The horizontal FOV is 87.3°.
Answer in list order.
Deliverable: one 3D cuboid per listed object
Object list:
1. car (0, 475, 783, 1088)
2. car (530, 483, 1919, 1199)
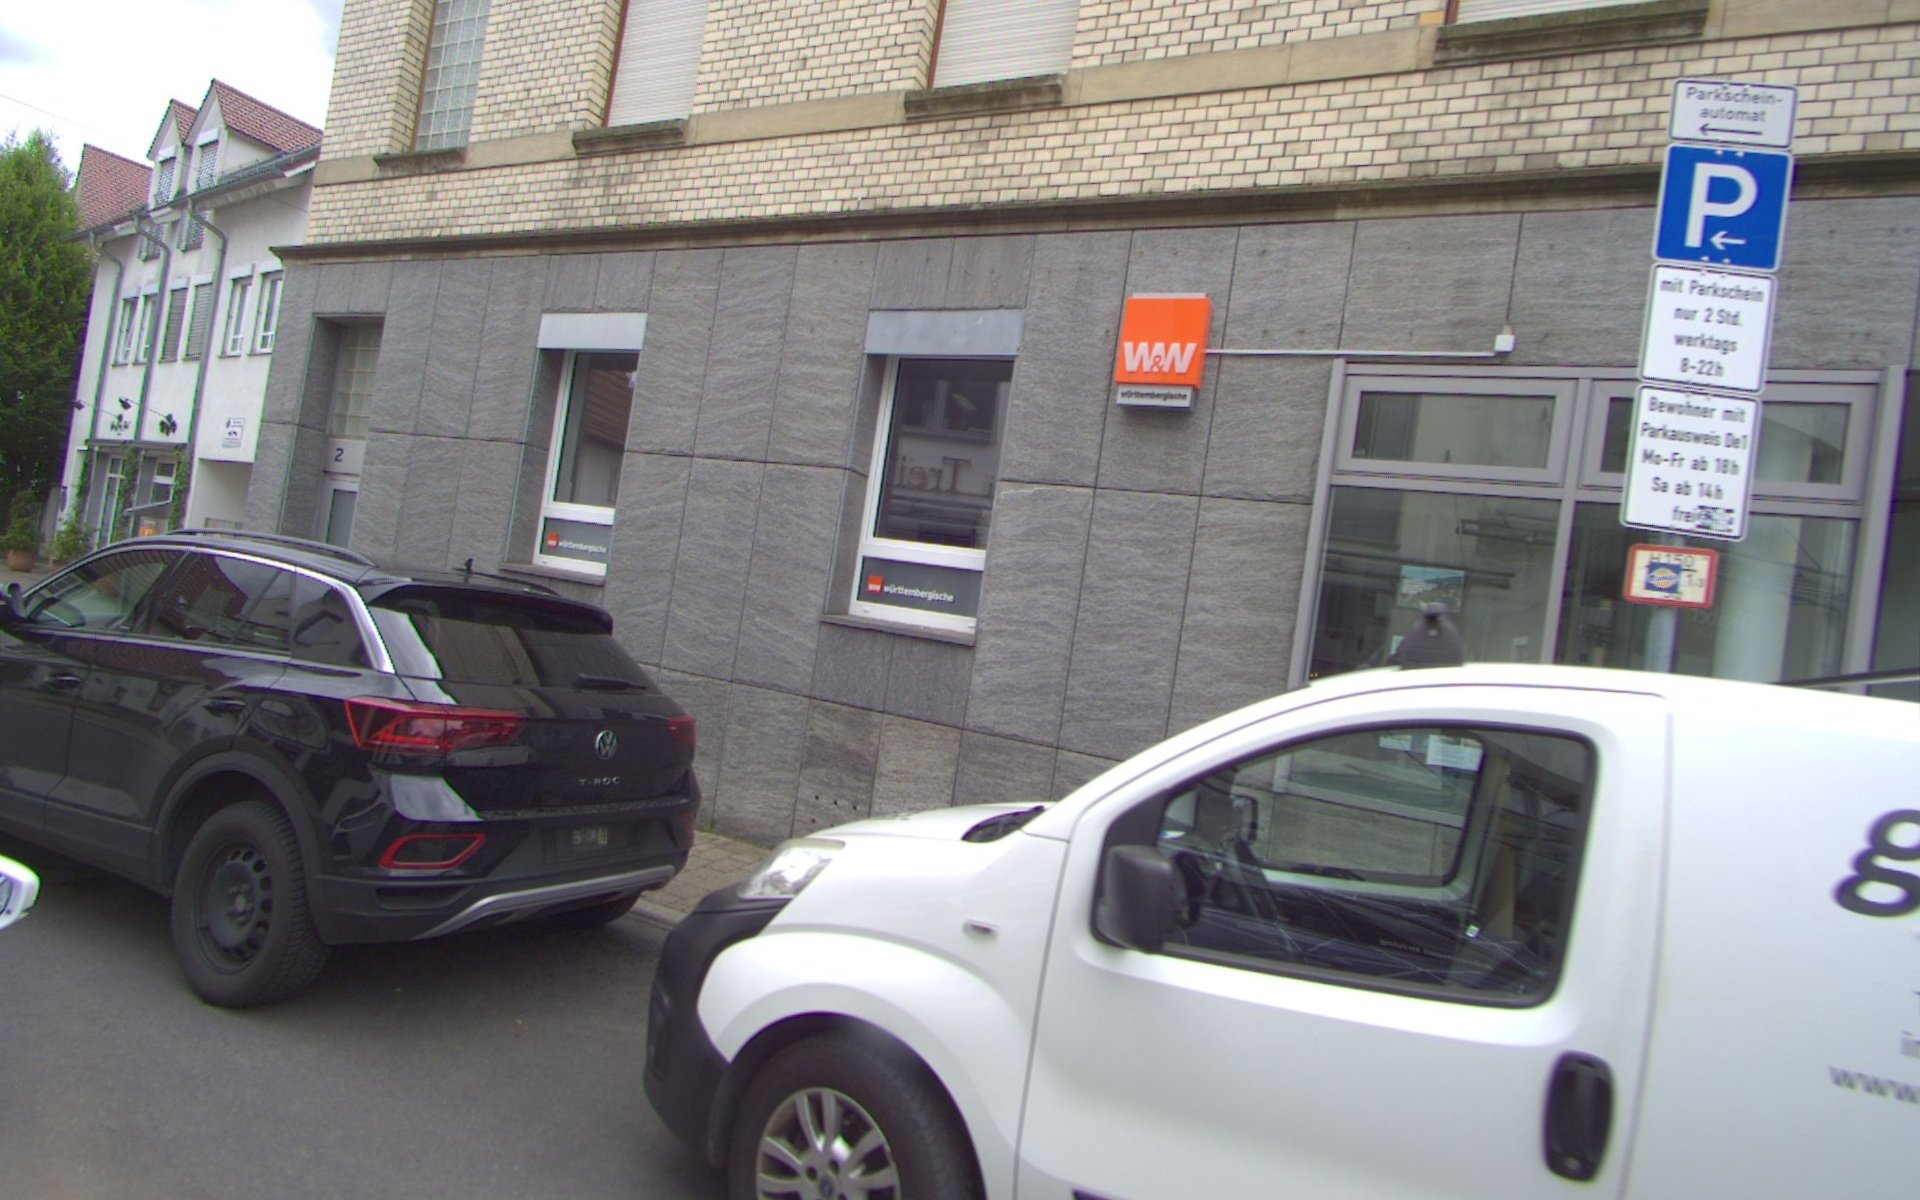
[{"bbox_3d":[-3.293,0.444,4.627,4.459,1.618,1.796,7,-3,23],"label":"car"},{"bbox_3d":[1.310,0.970,2.551,4.141,1.812,1.834,8,-2,22],"label":"car"}]
